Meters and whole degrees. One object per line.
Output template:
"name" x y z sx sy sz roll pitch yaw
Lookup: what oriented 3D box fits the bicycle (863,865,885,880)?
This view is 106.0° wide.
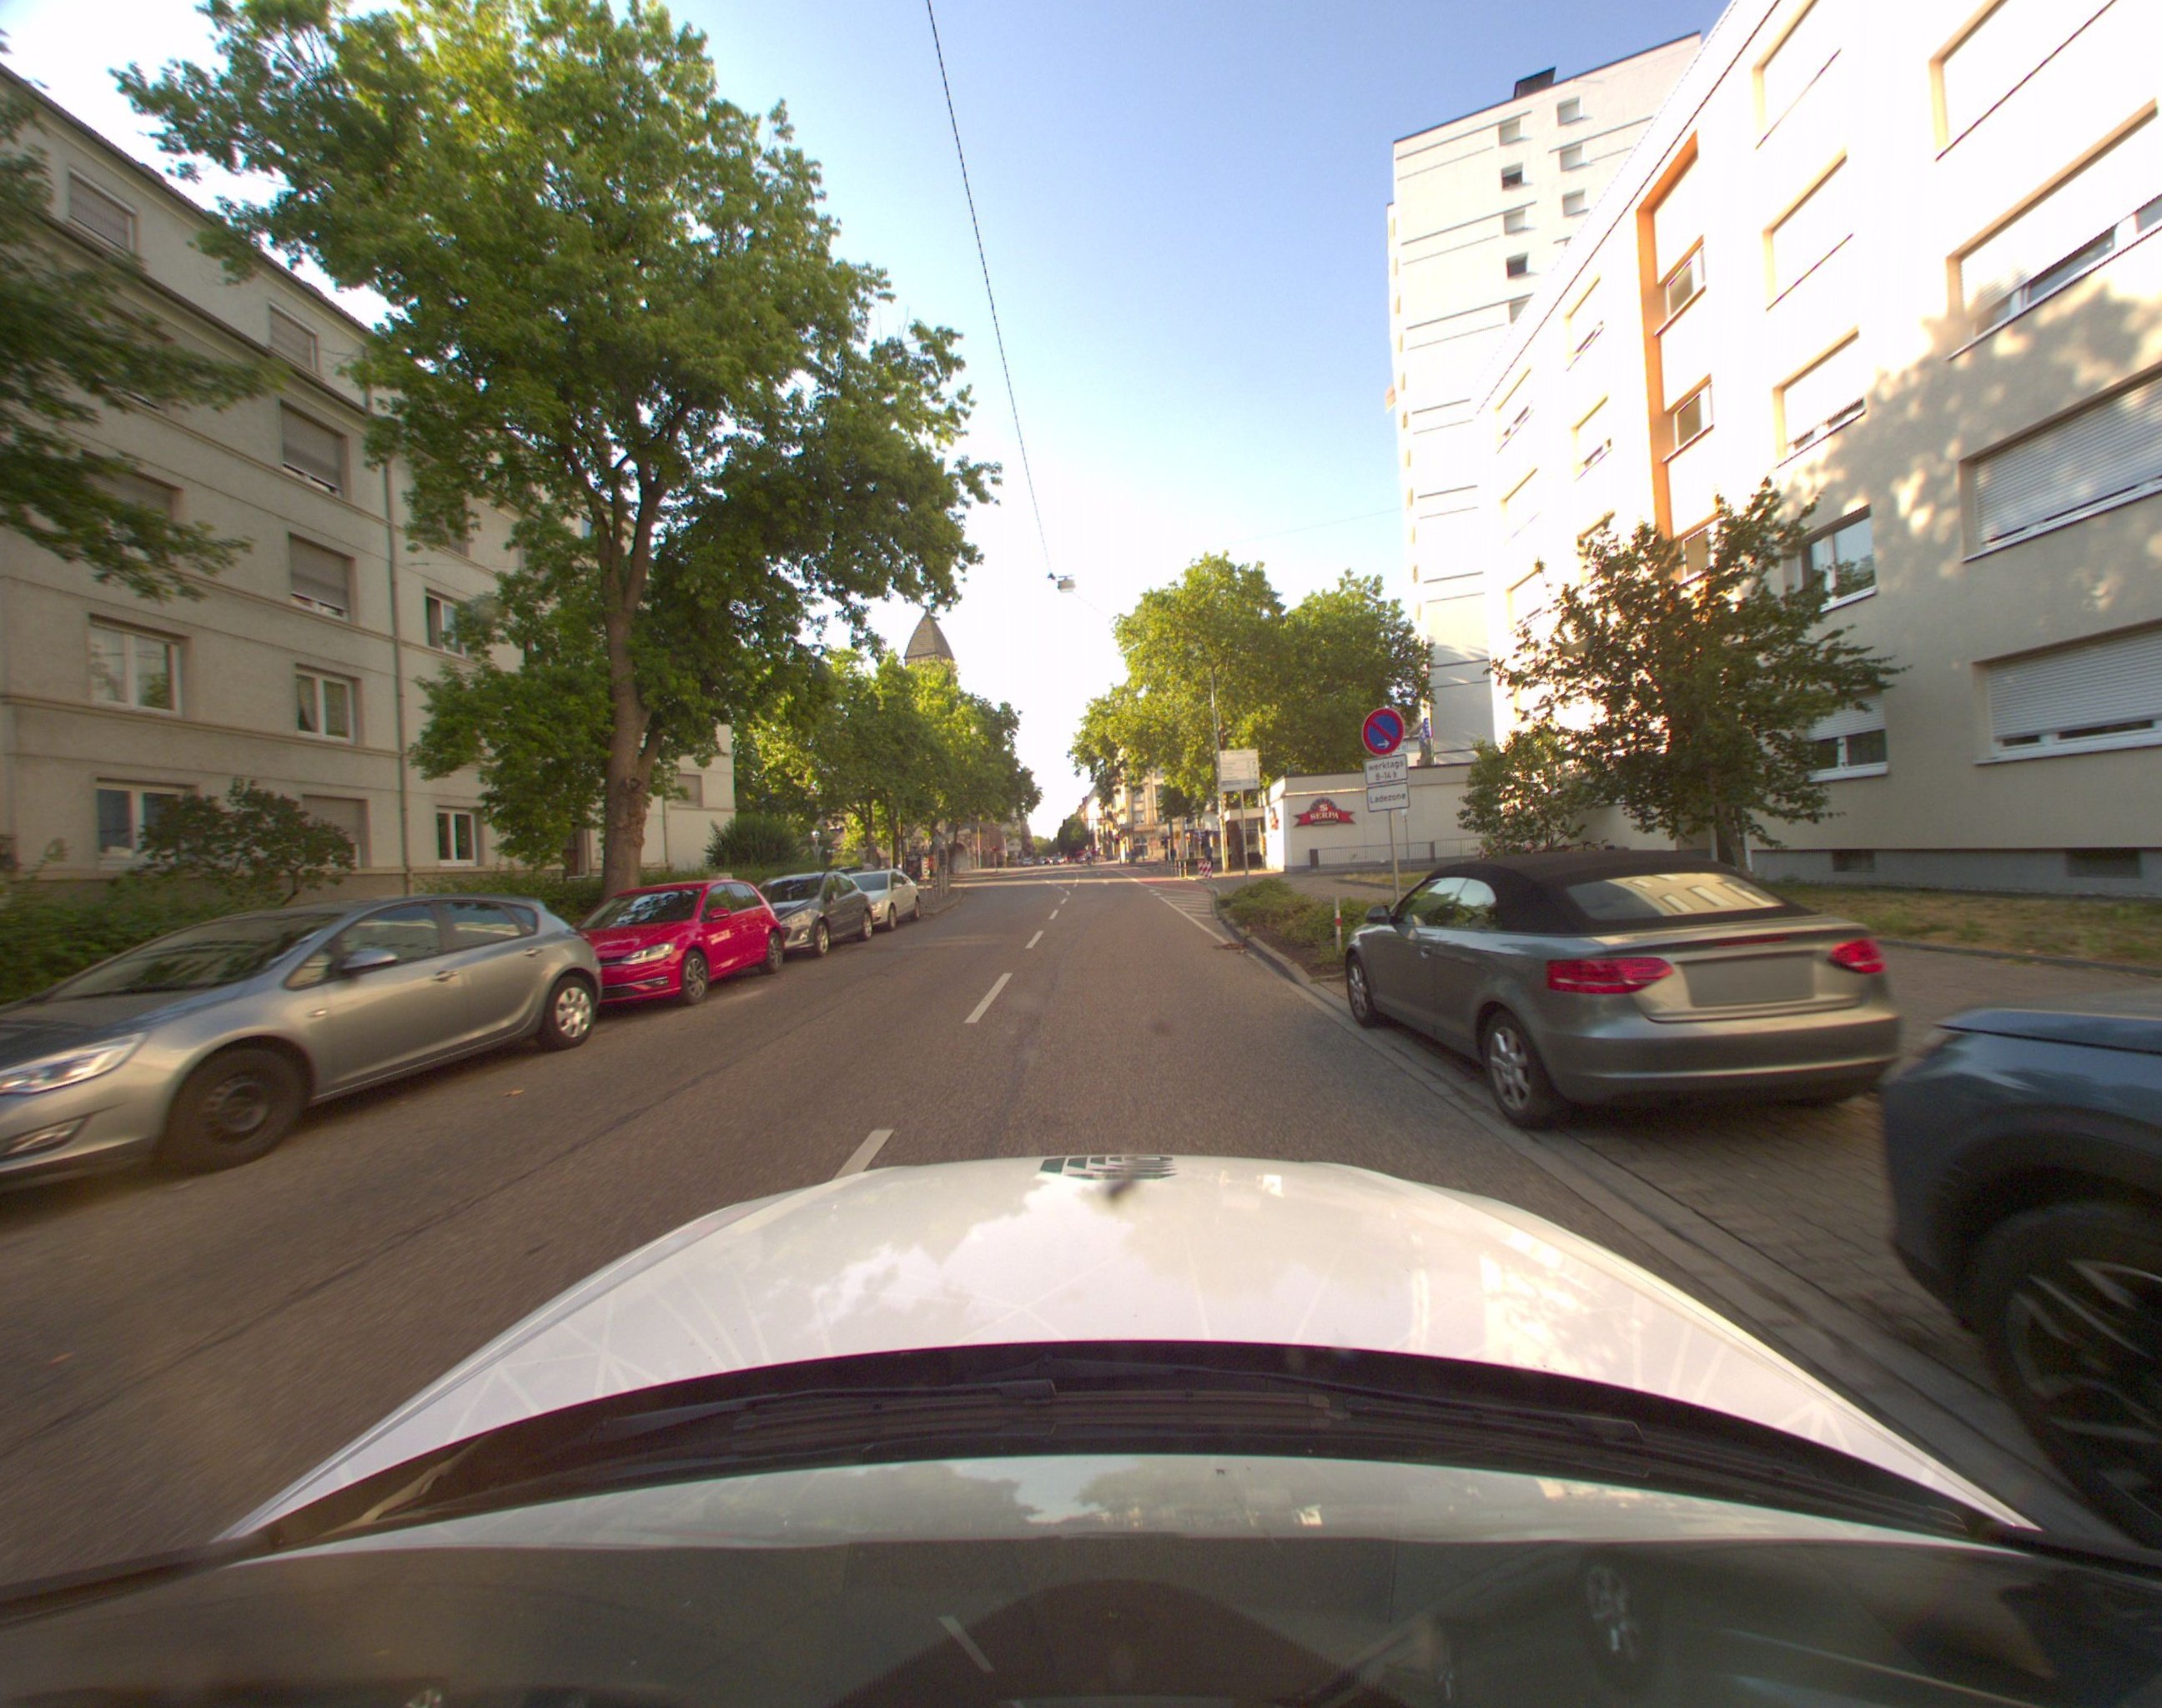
"bicycle" -15.625 1.393 61.669 0.715 1.145 3.292 -1 -1 1

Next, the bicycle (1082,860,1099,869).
"bicycle" 1.073 1.193 95.082 1.765 0.895 0.755 -3 0 23

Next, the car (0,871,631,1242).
"car" -5.439 0.971 5.726 1.864 1.558 4.498 -4 -1 1

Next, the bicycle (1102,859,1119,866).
"bicycle" 5.069 1.496 139.787 2.799 1.203 0.516 -1 -1 -6

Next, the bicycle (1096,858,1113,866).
"bicycle" 3.959 1.391 138.198 2.799 1.203 0.509 -1 -1 -6

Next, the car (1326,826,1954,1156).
"car" 3.166 0.664 5.751 1.734 1.473 4.001 -2 -1 1

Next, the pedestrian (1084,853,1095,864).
"pedestrian" 0.972 0.555 95.094 1.039 1.278 0.796 -2 -1 23

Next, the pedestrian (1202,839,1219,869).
"pedestrian" 9.078 -0.001 57.170 0.824 2.013 1.153 -6 -1 1

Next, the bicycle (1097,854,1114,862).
"bicycle" 4.247 0.756 140.396 2.798 1.201 0.510 -1 14 -5

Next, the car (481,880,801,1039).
"car" -5.308 1.167 10.547 1.864 1.558 4.001 -2 -1 1

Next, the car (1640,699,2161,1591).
"car" 2.926 0.502 0.558 1.920 1.659 4.678 -2 -1 1

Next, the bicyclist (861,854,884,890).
"bicyclist" -12.071 1.045 47.075 0.964 2.014 0.802 -2 -2 36

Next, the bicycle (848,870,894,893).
"bicycle" -12.101 1.591 47.031 0.998 1.264 2.499 -2 -1 36

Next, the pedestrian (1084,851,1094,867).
"pedestrian" 0.934 0.585 92.717 0.982 1.708 0.632 -2 -1 23

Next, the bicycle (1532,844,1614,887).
"bicycle" 11.634 0.237 19.348 0.634 0.925 2.231 -1 1 2

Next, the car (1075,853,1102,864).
"car" 1.540 0.810 158.521 5.027 2.014 2.142 -1 -1 -38

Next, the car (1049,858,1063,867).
"car" -4.557 1.566 147.314 1.575 1.462 3.196 -2 -1 15

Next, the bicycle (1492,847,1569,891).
"bicycle" 10.532 0.331 19.181 0.634 0.925 2.231 -1 1 2

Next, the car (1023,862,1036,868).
"car" -10.969 2.316 173.372 1.582 1.144 3.398 -2 -1 16

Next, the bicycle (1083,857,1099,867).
"bicycle" 1.145 0.909 92.611 1.768 0.982 0.660 -2 -1 23

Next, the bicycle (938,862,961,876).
"bicycle" -17.151 1.935 106.019 2.824 1.656 0.833 -2 -1 9

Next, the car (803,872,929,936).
"car" -5.180 1.159 20.318 1.763 1.352 4.712 -2 -1 1

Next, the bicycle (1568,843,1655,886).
"bicycle" 12.472 0.217 19.226 0.634 0.925 2.231 -1 1 2

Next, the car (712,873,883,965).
"car" -5.190 1.123 15.538 1.697 1.440 4.130 -2 -1 1
